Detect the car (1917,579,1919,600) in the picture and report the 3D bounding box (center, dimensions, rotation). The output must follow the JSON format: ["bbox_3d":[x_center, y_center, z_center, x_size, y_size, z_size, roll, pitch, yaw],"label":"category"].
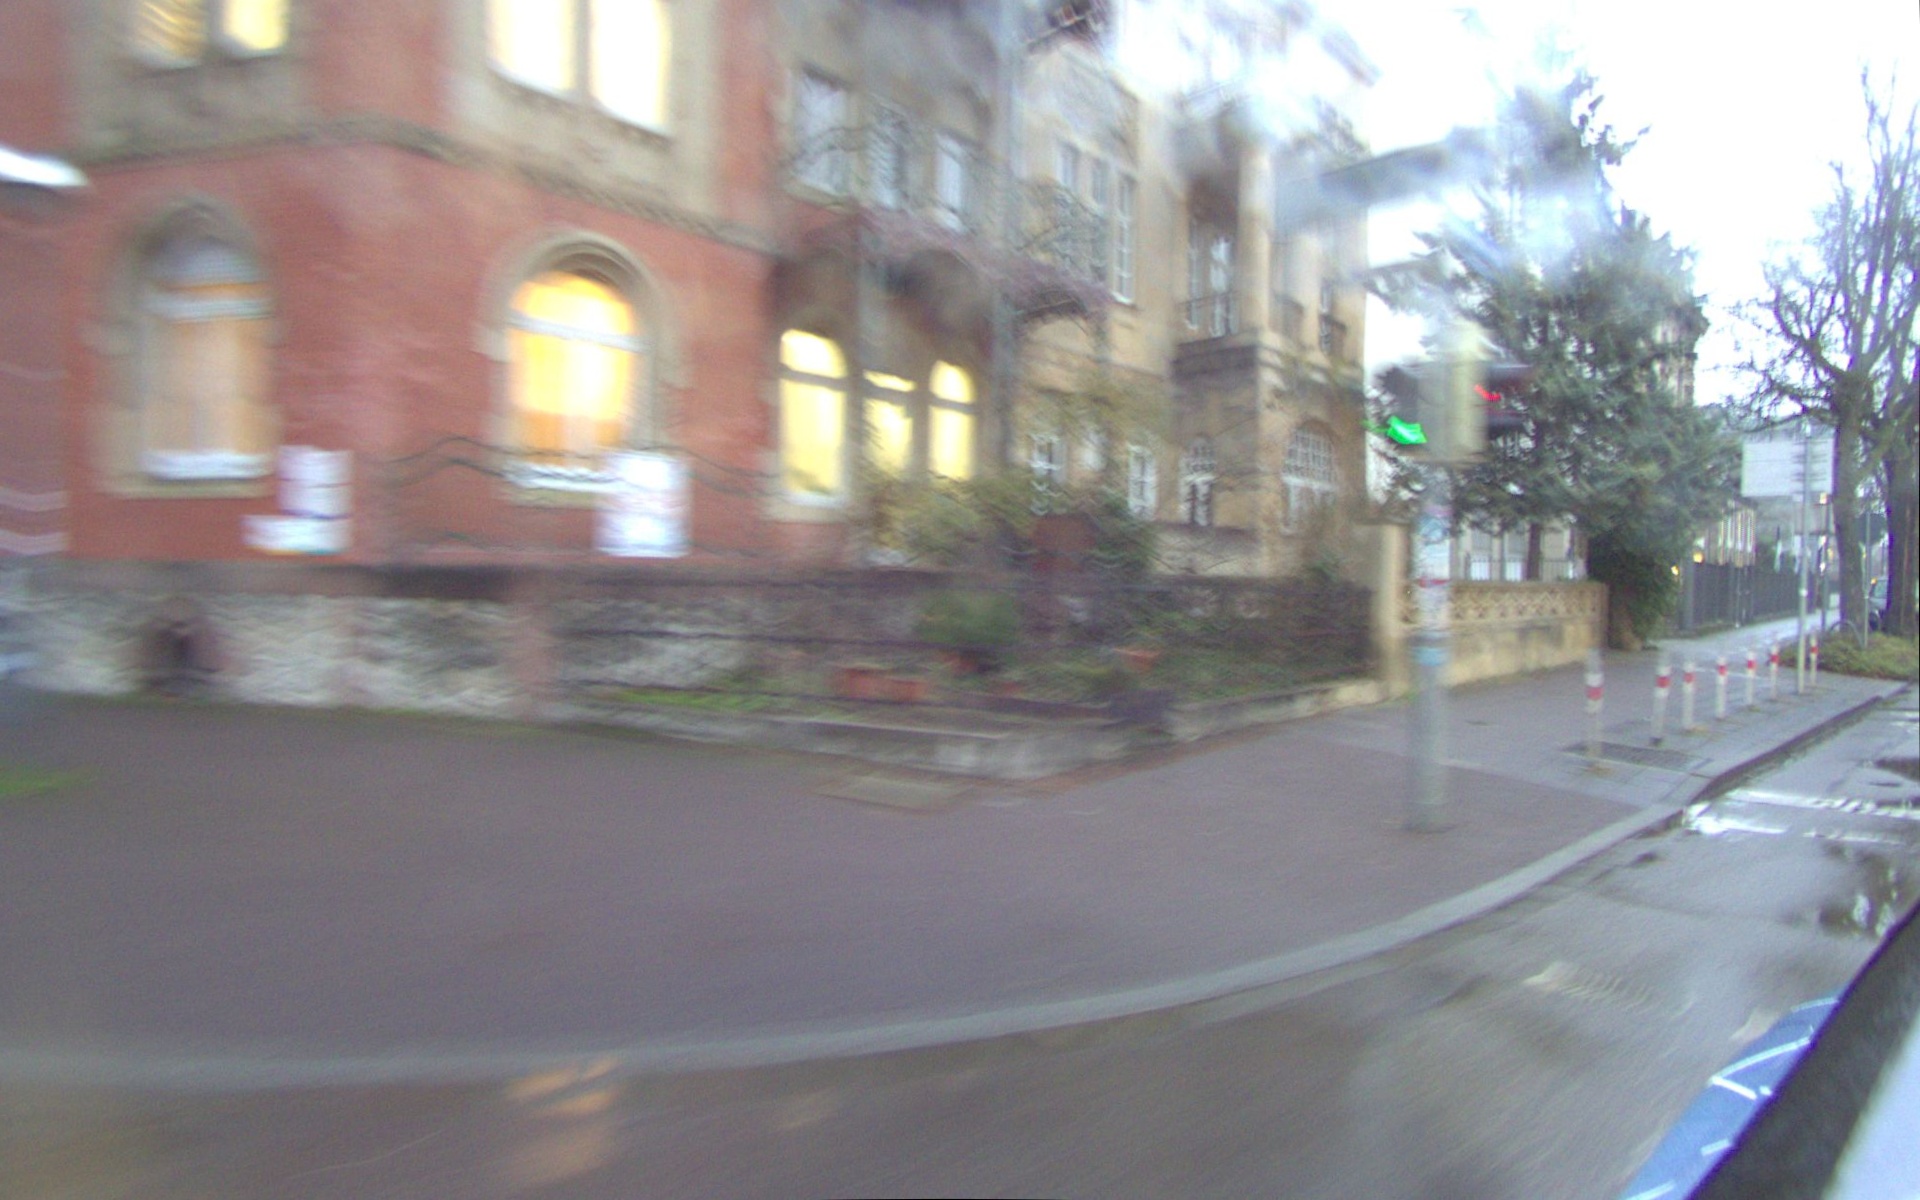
[{"bbox_3d":[69.037,-0.732,71.640,1.720,1.431,3.786,2,2,41],"label":"car"}]

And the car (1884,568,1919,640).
[{"bbox_3d":[28.059,0.076,29.400,1.721,1.970,4.439,-2,-1,43],"label":"car"}]
